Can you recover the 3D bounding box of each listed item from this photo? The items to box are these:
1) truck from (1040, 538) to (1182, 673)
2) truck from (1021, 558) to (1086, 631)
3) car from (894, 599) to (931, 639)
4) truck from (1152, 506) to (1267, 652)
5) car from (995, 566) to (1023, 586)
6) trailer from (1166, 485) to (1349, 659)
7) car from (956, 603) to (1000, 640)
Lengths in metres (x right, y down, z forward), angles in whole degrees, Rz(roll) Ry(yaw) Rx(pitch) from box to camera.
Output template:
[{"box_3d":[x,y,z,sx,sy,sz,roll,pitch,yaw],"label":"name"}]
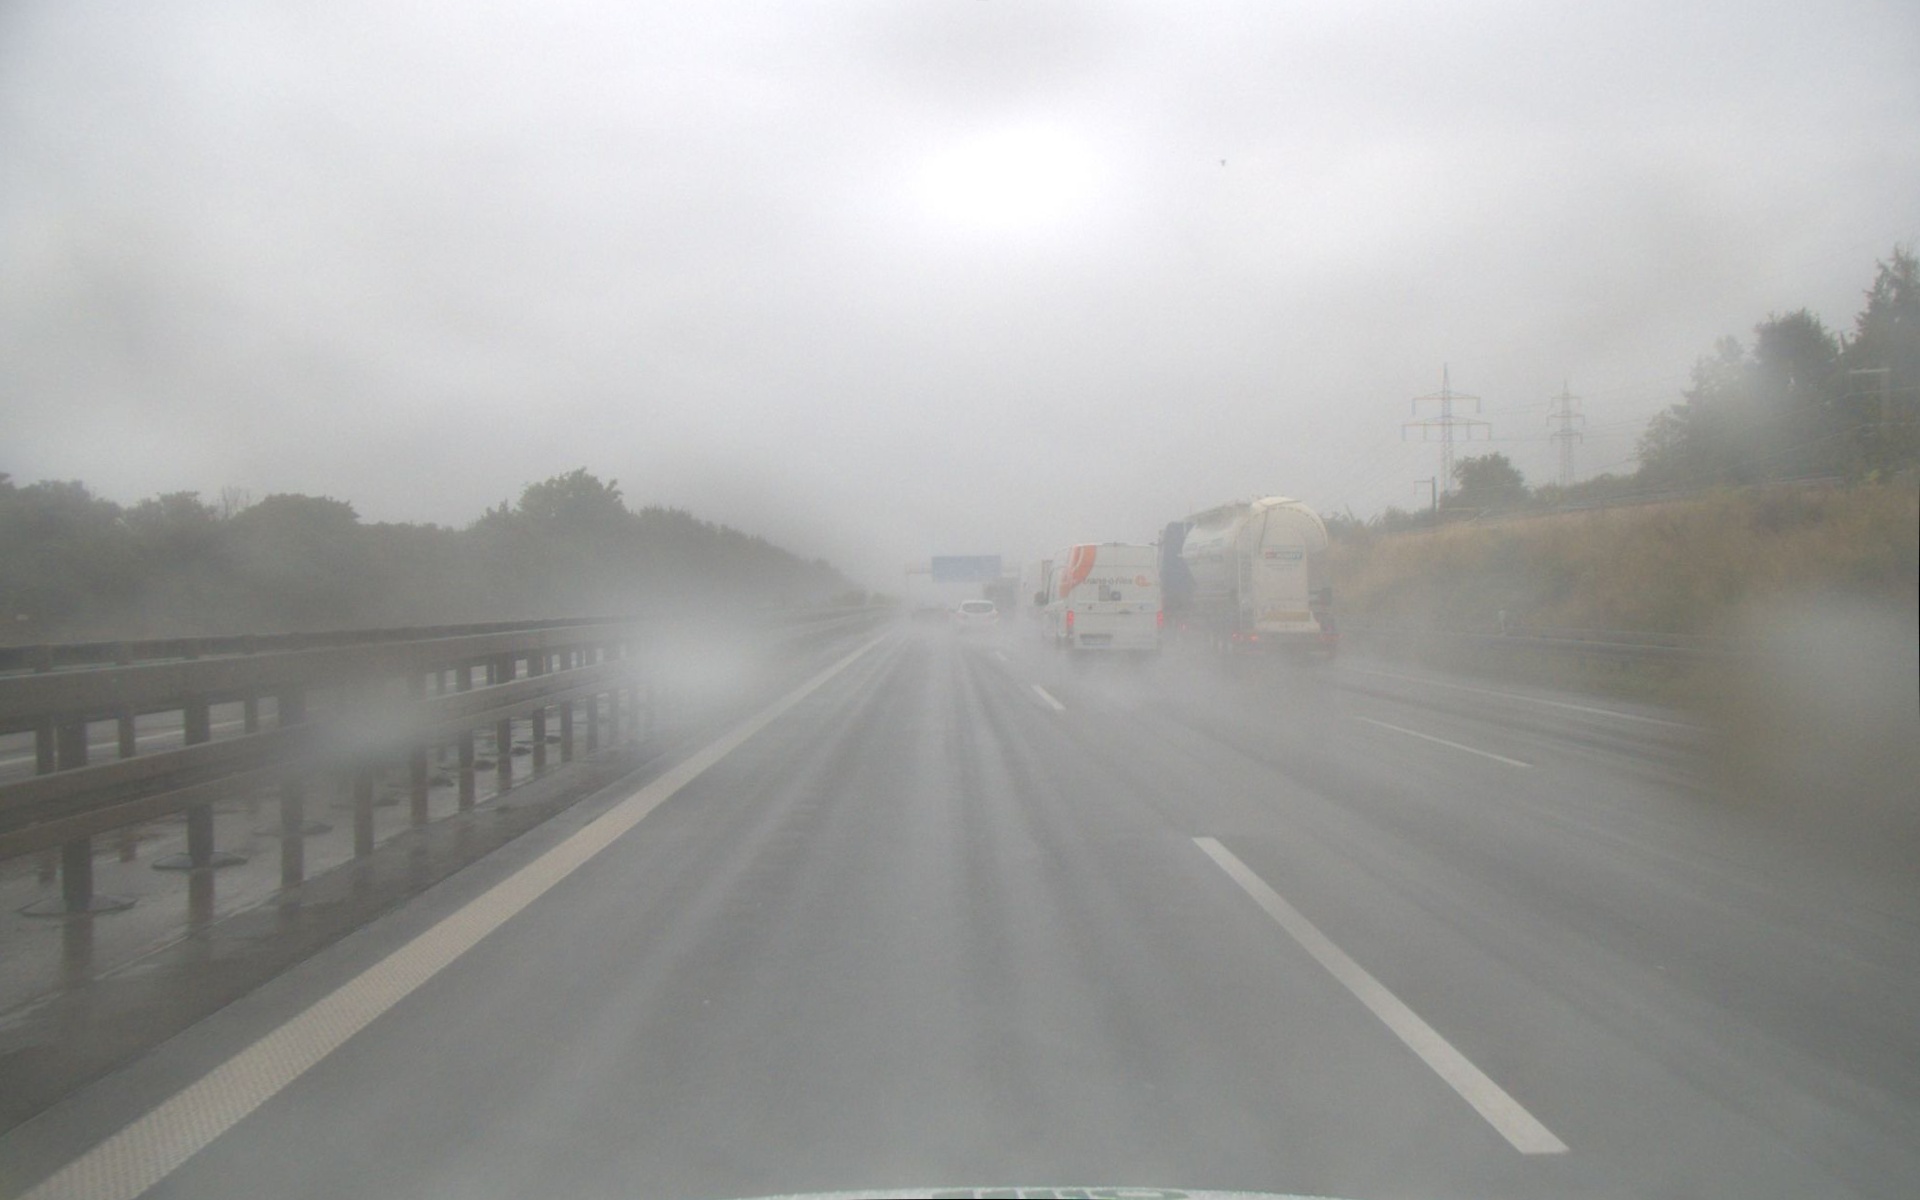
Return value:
[{"box_3d":[3.008,0.096,34.284,2.370,2.536,5.559,1,0,-1],"label":"truck"},{"box_3d":[6.287,-0.243,114.205,2.978,4.668,16.343,1,-1,-2],"label":"truck"},{"box_3d":[-2.222,0.872,78.082,1.667,1.850,3.861,1,0,-1],"label":"car"},{"box_3d":[7.306,-0.604,49.008,2.446,4.053,5.074,1,0,-2],"label":"truck"},{"box_3d":[5.175,-2.515,174.589,2.732,2.049,4.991,1,0,-1],"label":"car"},{"box_3d":[7.497,-0.649,43.383,2.447,3.950,11.062,1,0,-2],"label":"trailer"},{"box_3d":[0.667,0.802,64.109,1.573,1.361,3.847,1,0,-1],"label":"car"}]
